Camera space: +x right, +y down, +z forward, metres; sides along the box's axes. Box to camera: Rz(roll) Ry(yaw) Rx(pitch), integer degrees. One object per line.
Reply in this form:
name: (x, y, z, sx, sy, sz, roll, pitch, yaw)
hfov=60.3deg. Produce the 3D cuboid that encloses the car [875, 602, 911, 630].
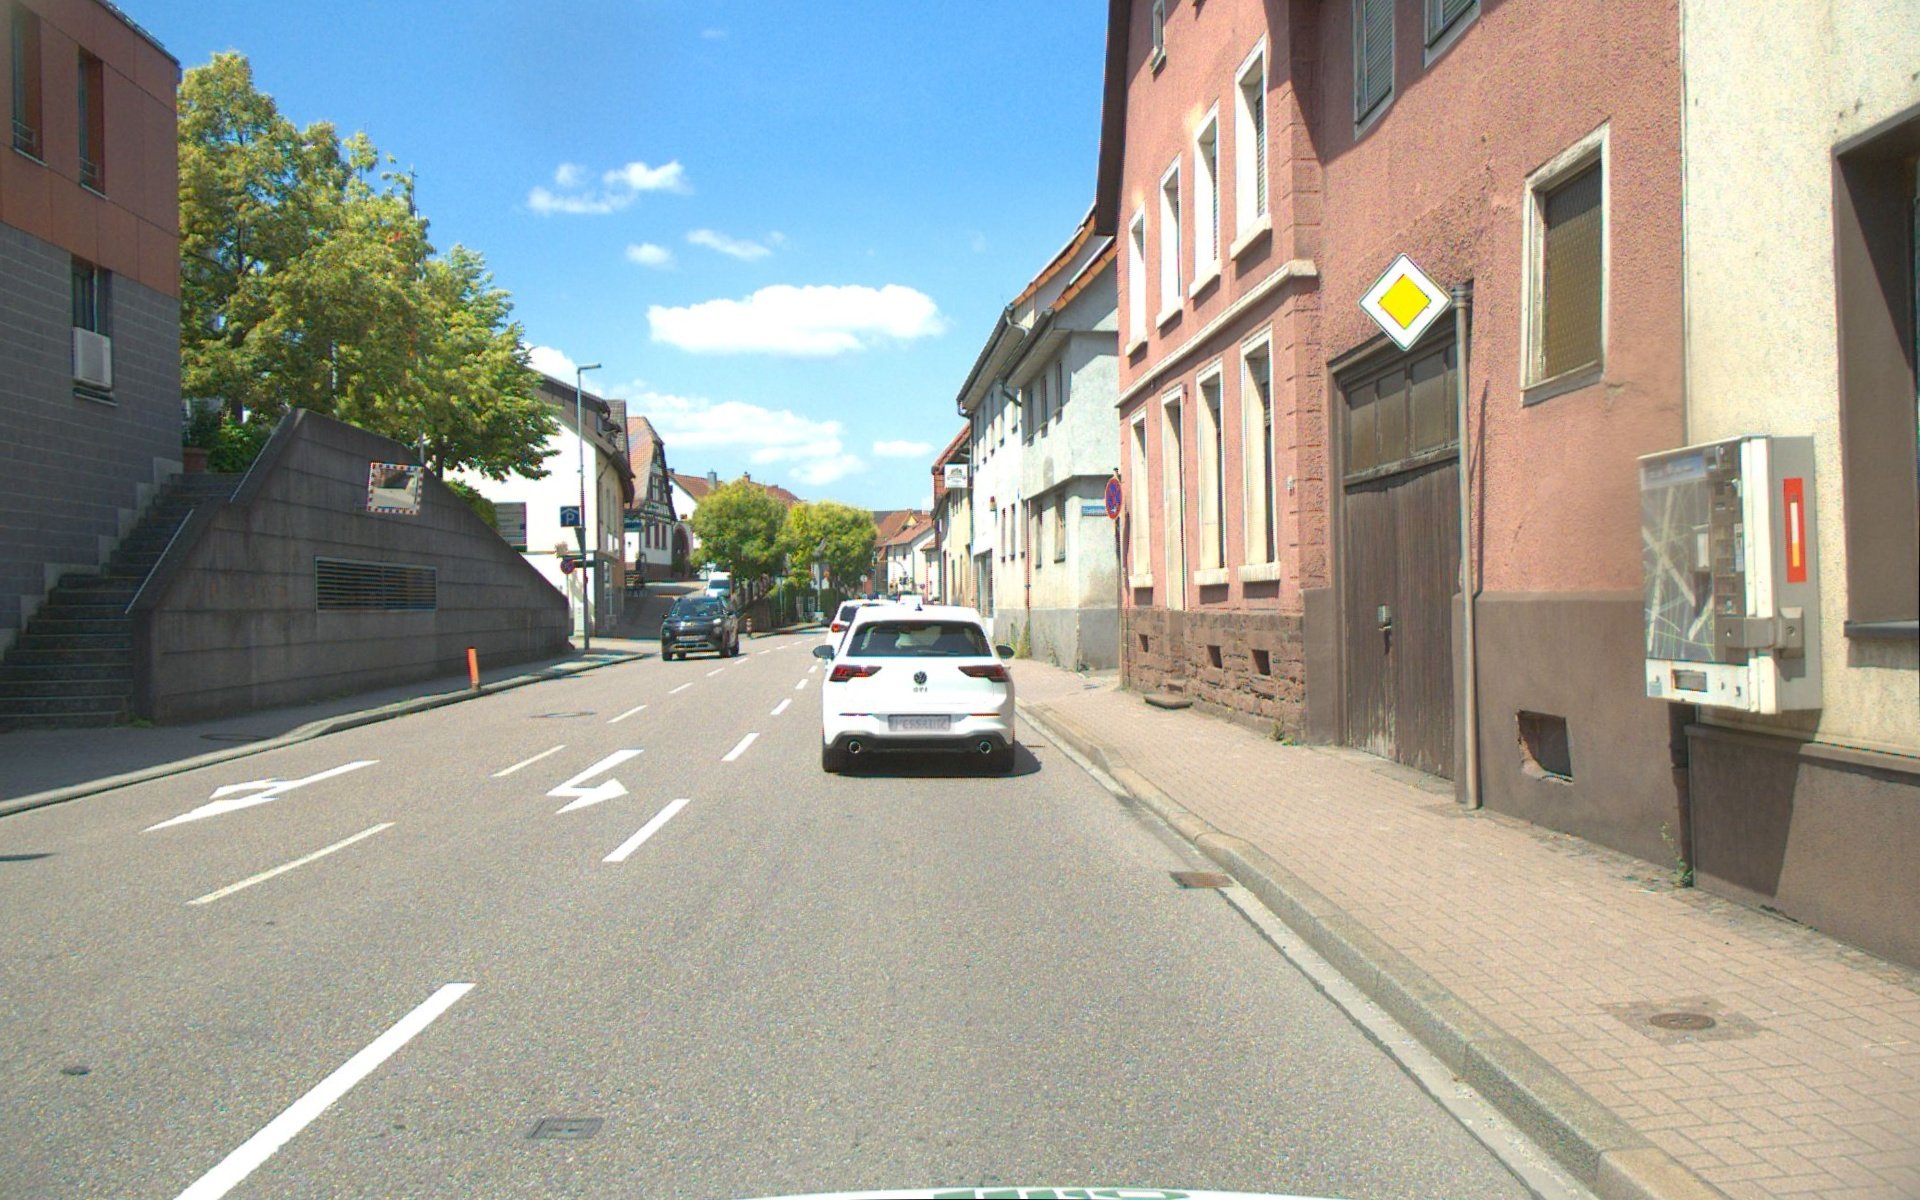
car: (-3.794, 0.892, 94.252, 1.738, 1.565, 4.001, -1, 0, 2)

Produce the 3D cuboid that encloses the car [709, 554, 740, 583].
car: (-14.145, -1.923, 99.604, 1.545, 1.385, 3.855, -1, 6, -4)

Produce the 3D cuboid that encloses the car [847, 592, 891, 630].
car: (-3.874, 0.451, 70.909, 1.739, 1.565, 3.999, -1, 0, -1)

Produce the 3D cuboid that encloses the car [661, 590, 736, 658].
car: (-6.894, 0.609, 43.855, 1.637, 1.686, 4.013, -1, 0, -5)

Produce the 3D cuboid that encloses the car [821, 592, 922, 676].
car: (-1.753, 0.620, 31.603, 1.772, 1.493, 3.996, 1, 0, -5)

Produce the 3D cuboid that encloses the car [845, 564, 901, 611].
car: (-2.912, -0.388, 54.841, 1.772, 1.493, 3.997, 1, 0, -4)

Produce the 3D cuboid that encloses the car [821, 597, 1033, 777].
car: (-0.236, 0.743, 15.925, 1.770, 1.493, 4.000, 1, 0, 1)

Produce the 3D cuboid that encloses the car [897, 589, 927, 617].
car: (-3.168, 0.195, 109.430, 1.739, 1.796, 4.001, -1, 0, 1)

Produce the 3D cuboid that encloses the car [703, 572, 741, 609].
car: (-12.493, -0.500, 86.957, 1.660, 1.569, 3.855, -1, 6, -4)
